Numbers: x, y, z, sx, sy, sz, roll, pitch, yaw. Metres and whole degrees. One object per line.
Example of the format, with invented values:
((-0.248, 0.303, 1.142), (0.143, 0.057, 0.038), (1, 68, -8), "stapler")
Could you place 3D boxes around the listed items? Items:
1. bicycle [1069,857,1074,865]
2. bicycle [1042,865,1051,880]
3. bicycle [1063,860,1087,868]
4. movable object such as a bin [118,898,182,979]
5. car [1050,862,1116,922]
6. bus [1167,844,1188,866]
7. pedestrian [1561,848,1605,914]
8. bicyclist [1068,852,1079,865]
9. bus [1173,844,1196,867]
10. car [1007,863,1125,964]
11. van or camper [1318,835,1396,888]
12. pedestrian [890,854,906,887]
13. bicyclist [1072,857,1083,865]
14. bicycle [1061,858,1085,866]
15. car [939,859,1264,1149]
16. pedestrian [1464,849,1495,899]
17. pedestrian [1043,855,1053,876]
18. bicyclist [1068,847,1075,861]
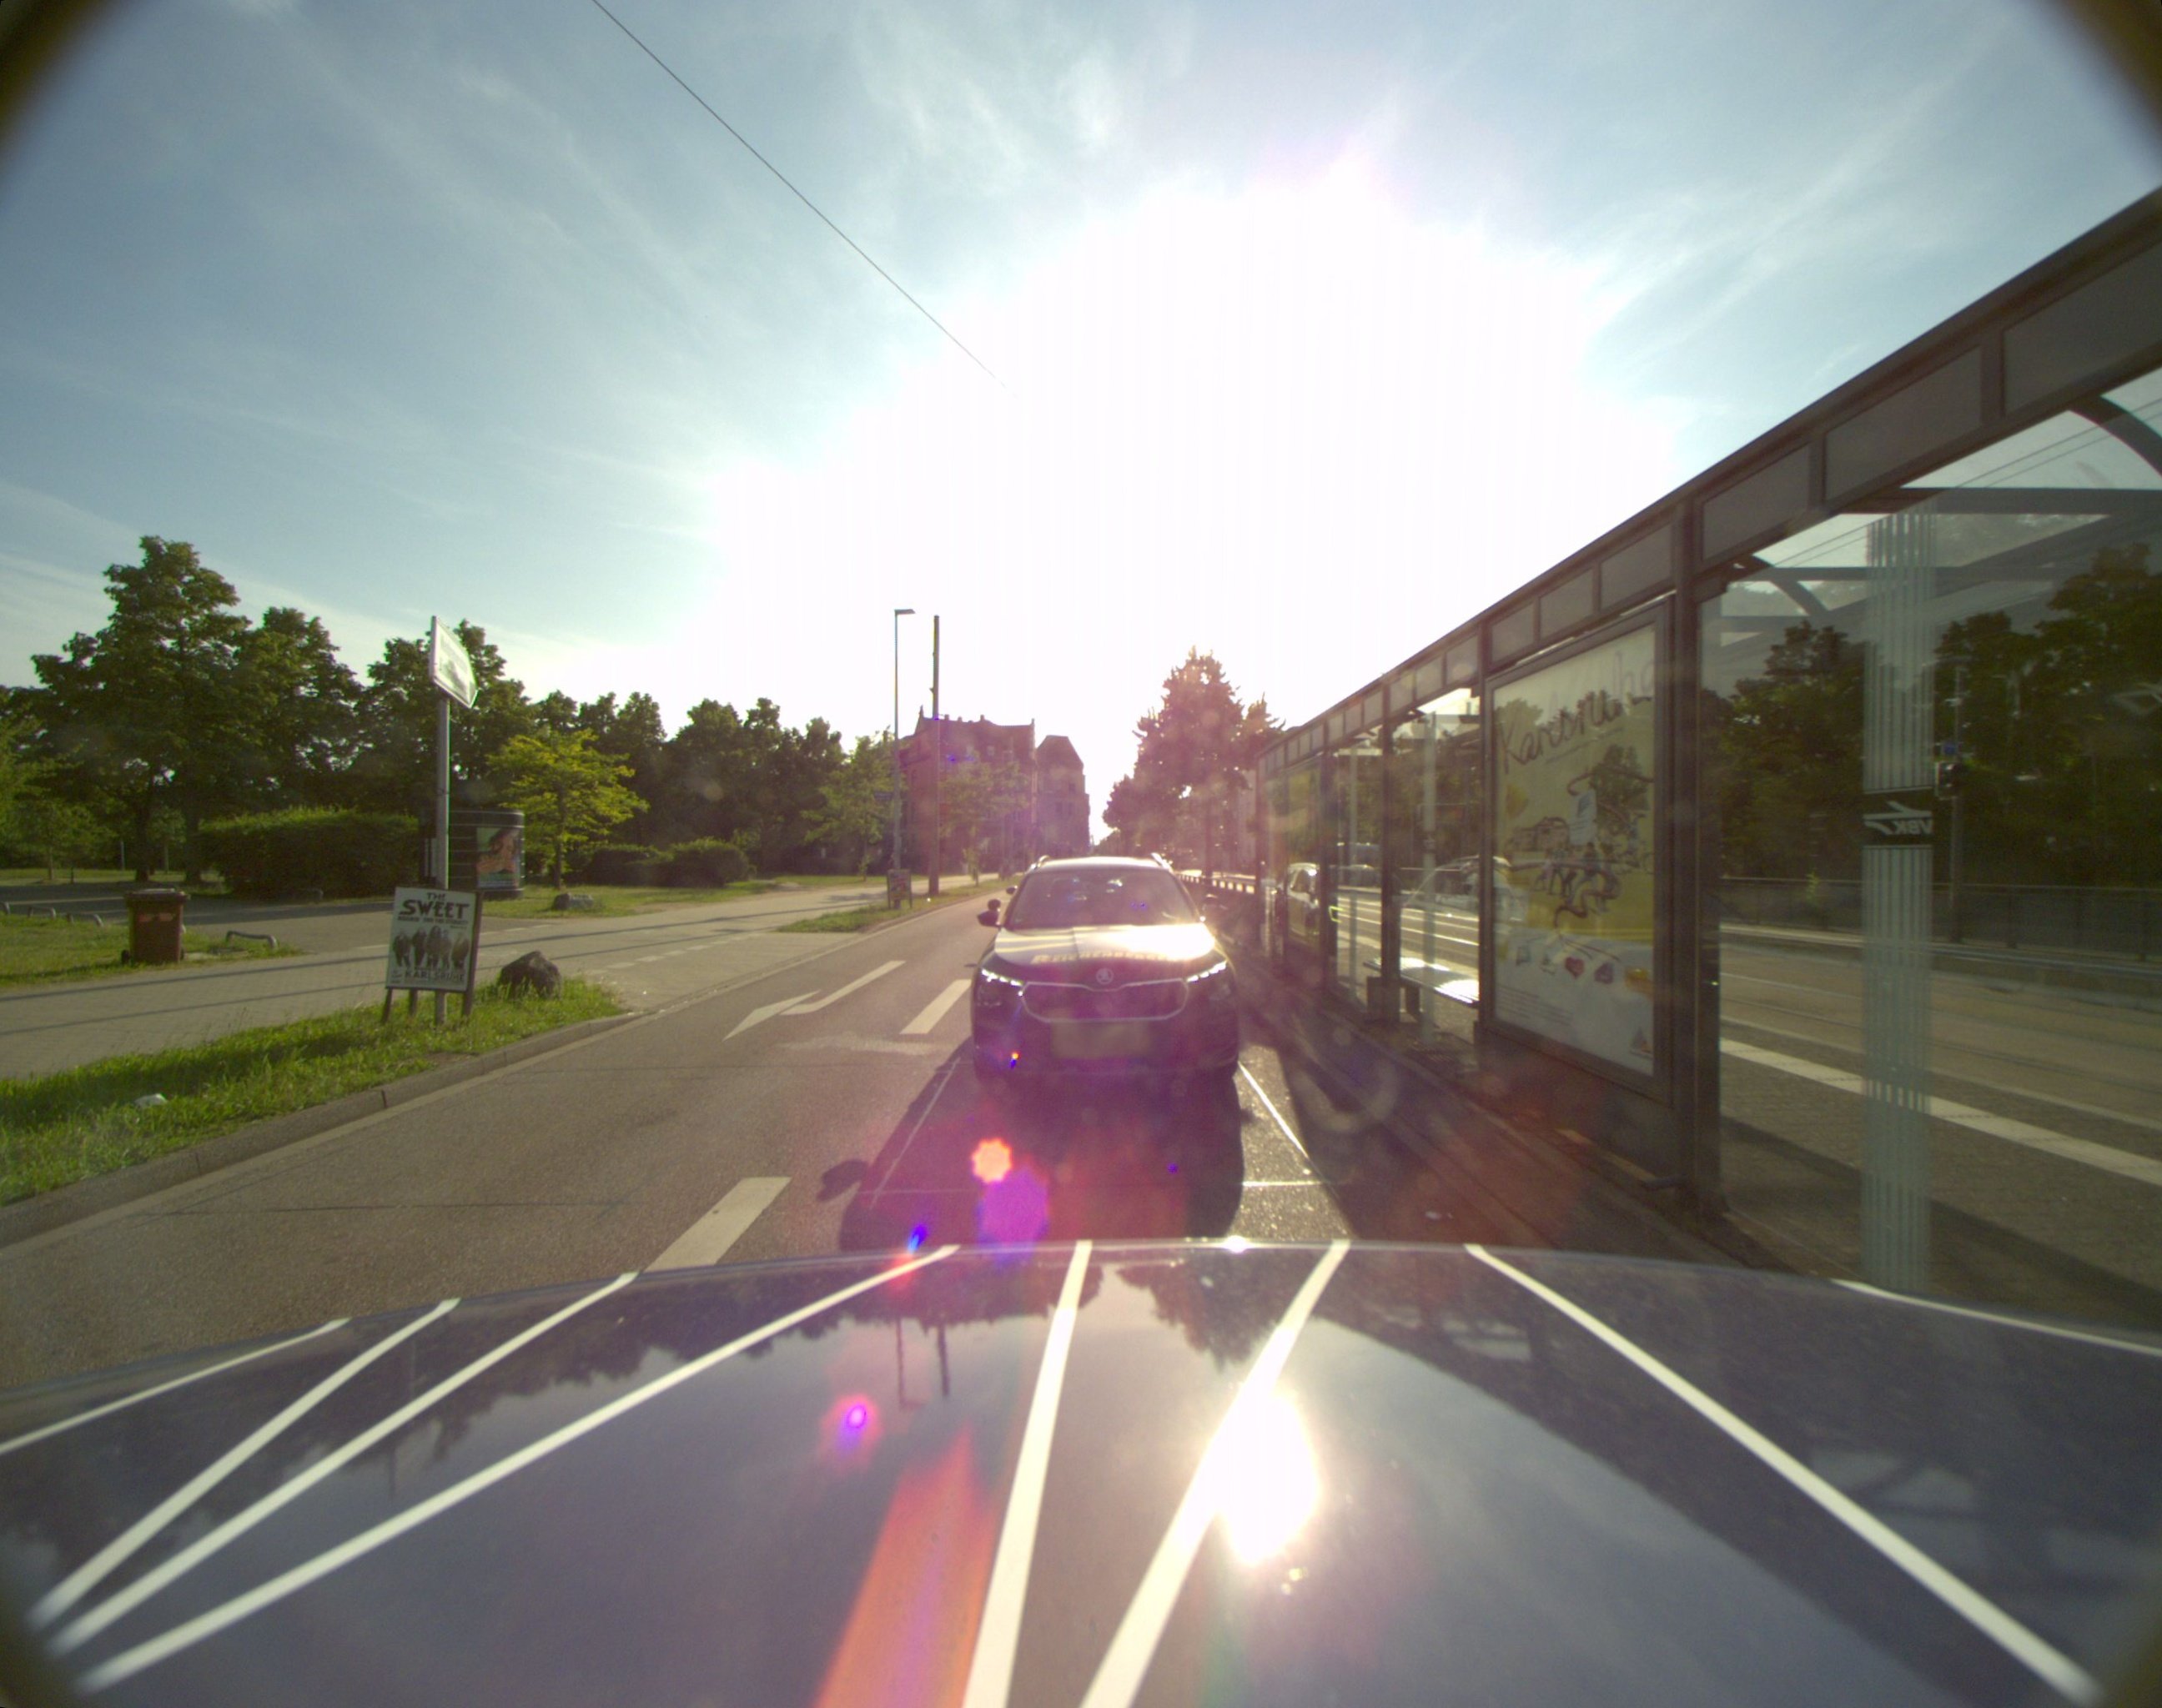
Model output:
((-0.960, 0.653, 76.848), (0.567, 0.789, 2.041), (0, 0, 0), "bicycle")
((-2.567, 1.381, 57.075), (0.652, 1.040, 1.980), (-2, 1, -2), "bicycle")
((-0.738, 1.244, 92.501), (2.962, 0.974, 0.879), (0, 0, -2), "bicycle")
((-11.401, 1.021, 9.318), (0.603, 0.912, 0.457), (1, 1, 42), "movable object such as a bin")
((0.083, 1.041, 22.587), (1.756, 1.534, 4.235), (-1, 0, 1), "car")
((16.344, 0.148, 128.654), (2.437, 3.415, 9.261), (-2, 1, 1), "bus")
((13.161, 0.687, 19.936), (0.621, 1.675, 0.618), (3, 1, 1), "pedestrian")
((-0.962, 0.565, 95.380), (1.402, 1.538, 0.888), (0, 0, -1), "bicyclist")
((16.189, 0.198, 119.379), (2.437, 3.415, 9.261), (-2, 1, 1), "bus")
((-0.193, 0.927, 13.667), (1.756, 1.451, 4.235), (-1, 0, 1), "car")
((16.835, 0.390, 46.822), (2.527, 2.951, 6.411), (-2, 1, 1), "van or camper")
((-9.454, 0.844, 39.173), (0.621, 1.675, 0.618), (-2, 1, 1), "pedestrian")
((-0.414, 0.834, 92.562), (1.402, 1.000, 0.888), (0, 0, -1), "bicyclist")
((-1.058, 1.056, 95.376), (2.962, 0.974, 0.879), (0, 0, -2), "bicycle")
((0.149, 0.848, 6.304), (1.756, 1.534, 4.235), (-1, 0, 1), "car")
((13.677, 0.691, 26.105), (0.621, 1.675, 0.618), (3, 1, 1), "pedestrian")
((-2.488, 0.868, 57.085), (0.637, 1.512, 0.845), (-2, 1, -2), "pedestrian")
((-0.960, 0.001, 76.795), (0.689, 1.445, 1.111), (0, 0, 0), "bicyclist")
